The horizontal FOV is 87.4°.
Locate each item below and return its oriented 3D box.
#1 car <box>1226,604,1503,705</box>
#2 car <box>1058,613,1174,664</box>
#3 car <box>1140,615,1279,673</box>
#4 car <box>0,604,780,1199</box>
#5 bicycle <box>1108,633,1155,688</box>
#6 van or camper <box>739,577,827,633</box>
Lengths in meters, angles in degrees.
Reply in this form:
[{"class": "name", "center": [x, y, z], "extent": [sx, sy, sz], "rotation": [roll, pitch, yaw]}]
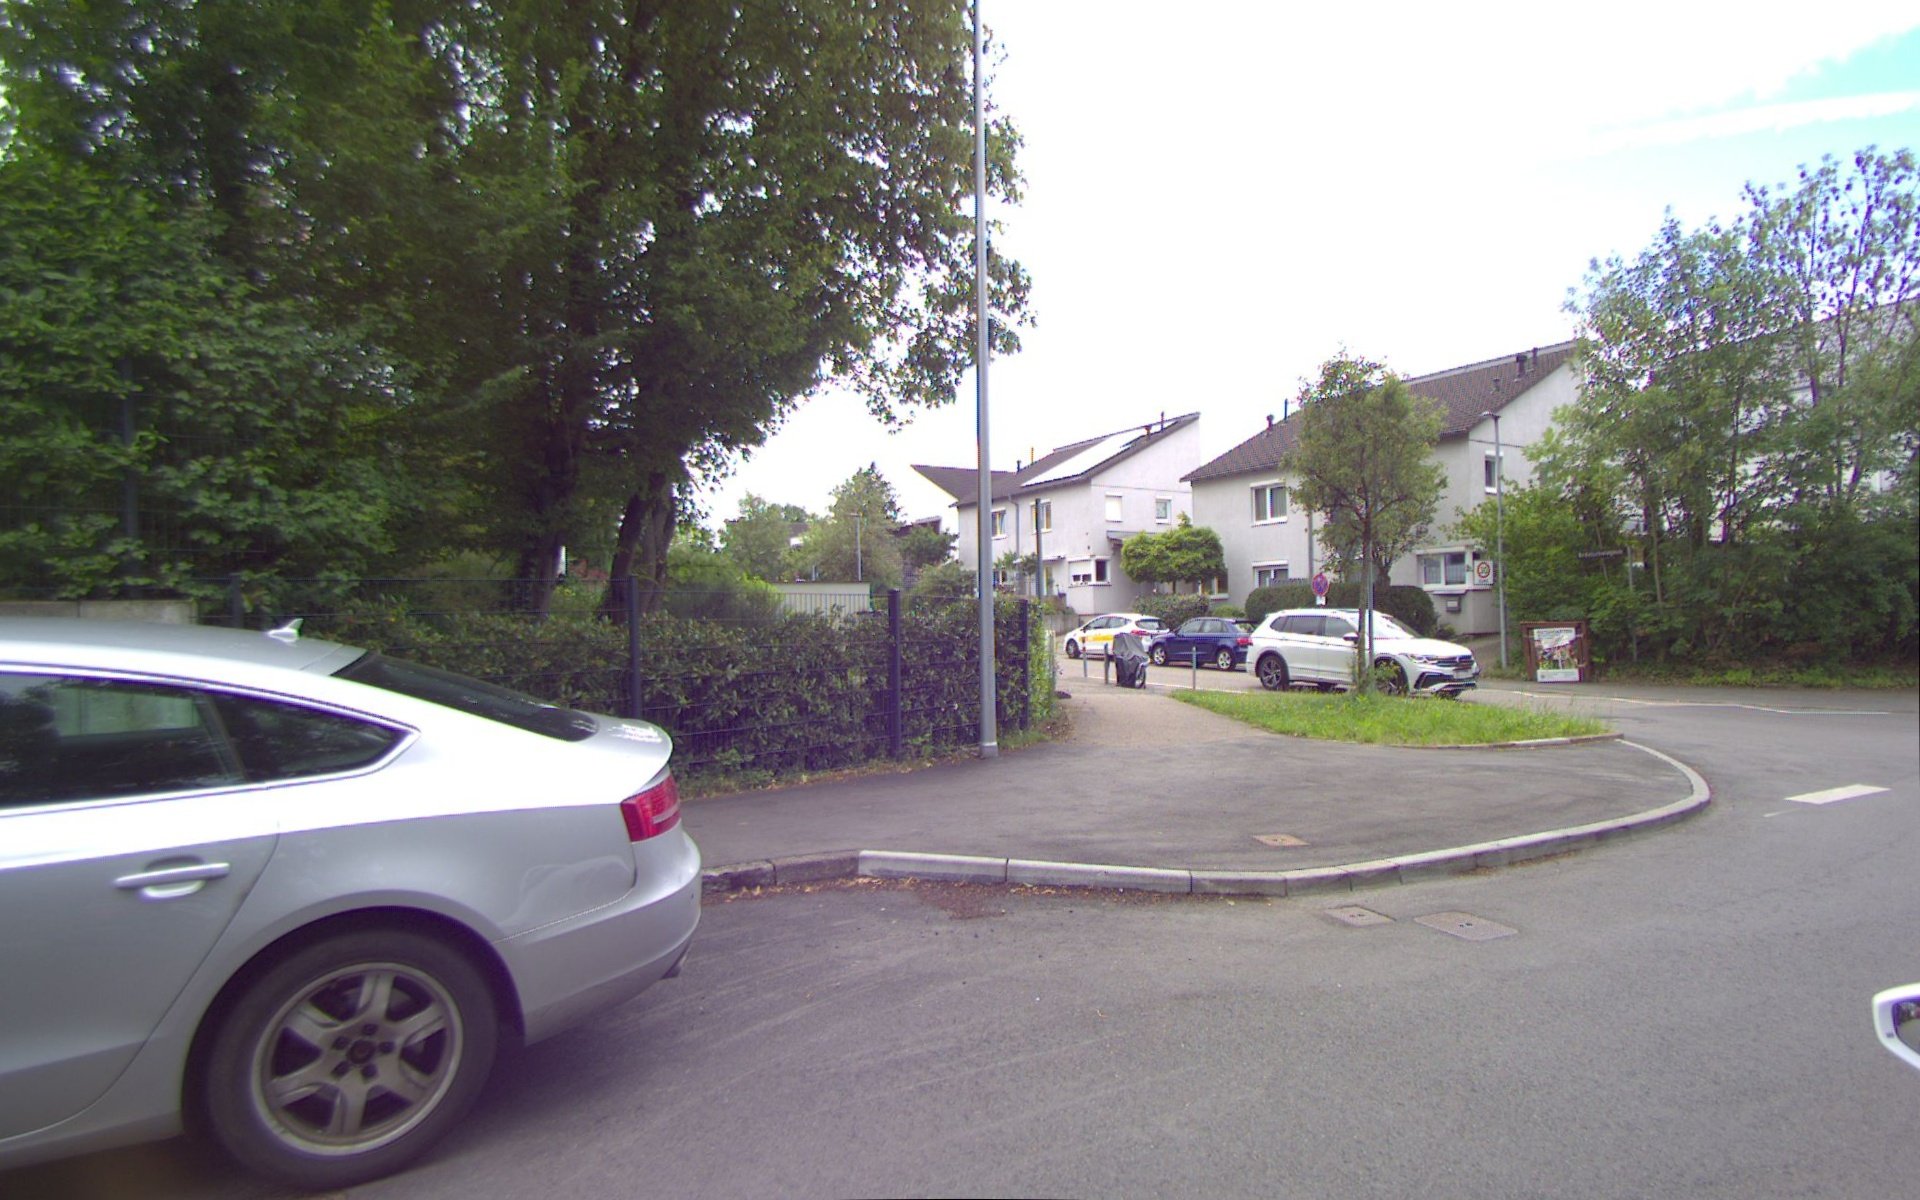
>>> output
[{"class": "car", "center": [7.744, 0.959, 19.796], "extent": [2.013, 1.692, 4.913], "rotation": [1, -1, -29]}, {"class": "car", "center": [4.779, 1.135, 31.188], "extent": [1.513, 1.431, 3.764], "rotation": [0, 0, -31]}, {"class": "car", "center": [6.803, 1.149, 27.648], "extent": [1.655, 1.431, 3.517], "rotation": [0, 0, -35]}, {"class": "car", "center": [-2.889, 0.722, 2.696], "extent": [4.393, 1.392, 1.822], "rotation": [1, 0, -31]}, {"class": "bicycle", "center": [3.618, 1.248, 21.348], "extent": [0.639, 1.015, 2.586], "rotation": [1, 0, 2]}, {"class": "van or camper", "center": [-9.919, 0.268, 55.649], "extent": [2.280, 2.883, 7.556], "rotation": [0, 0, -31]}]
